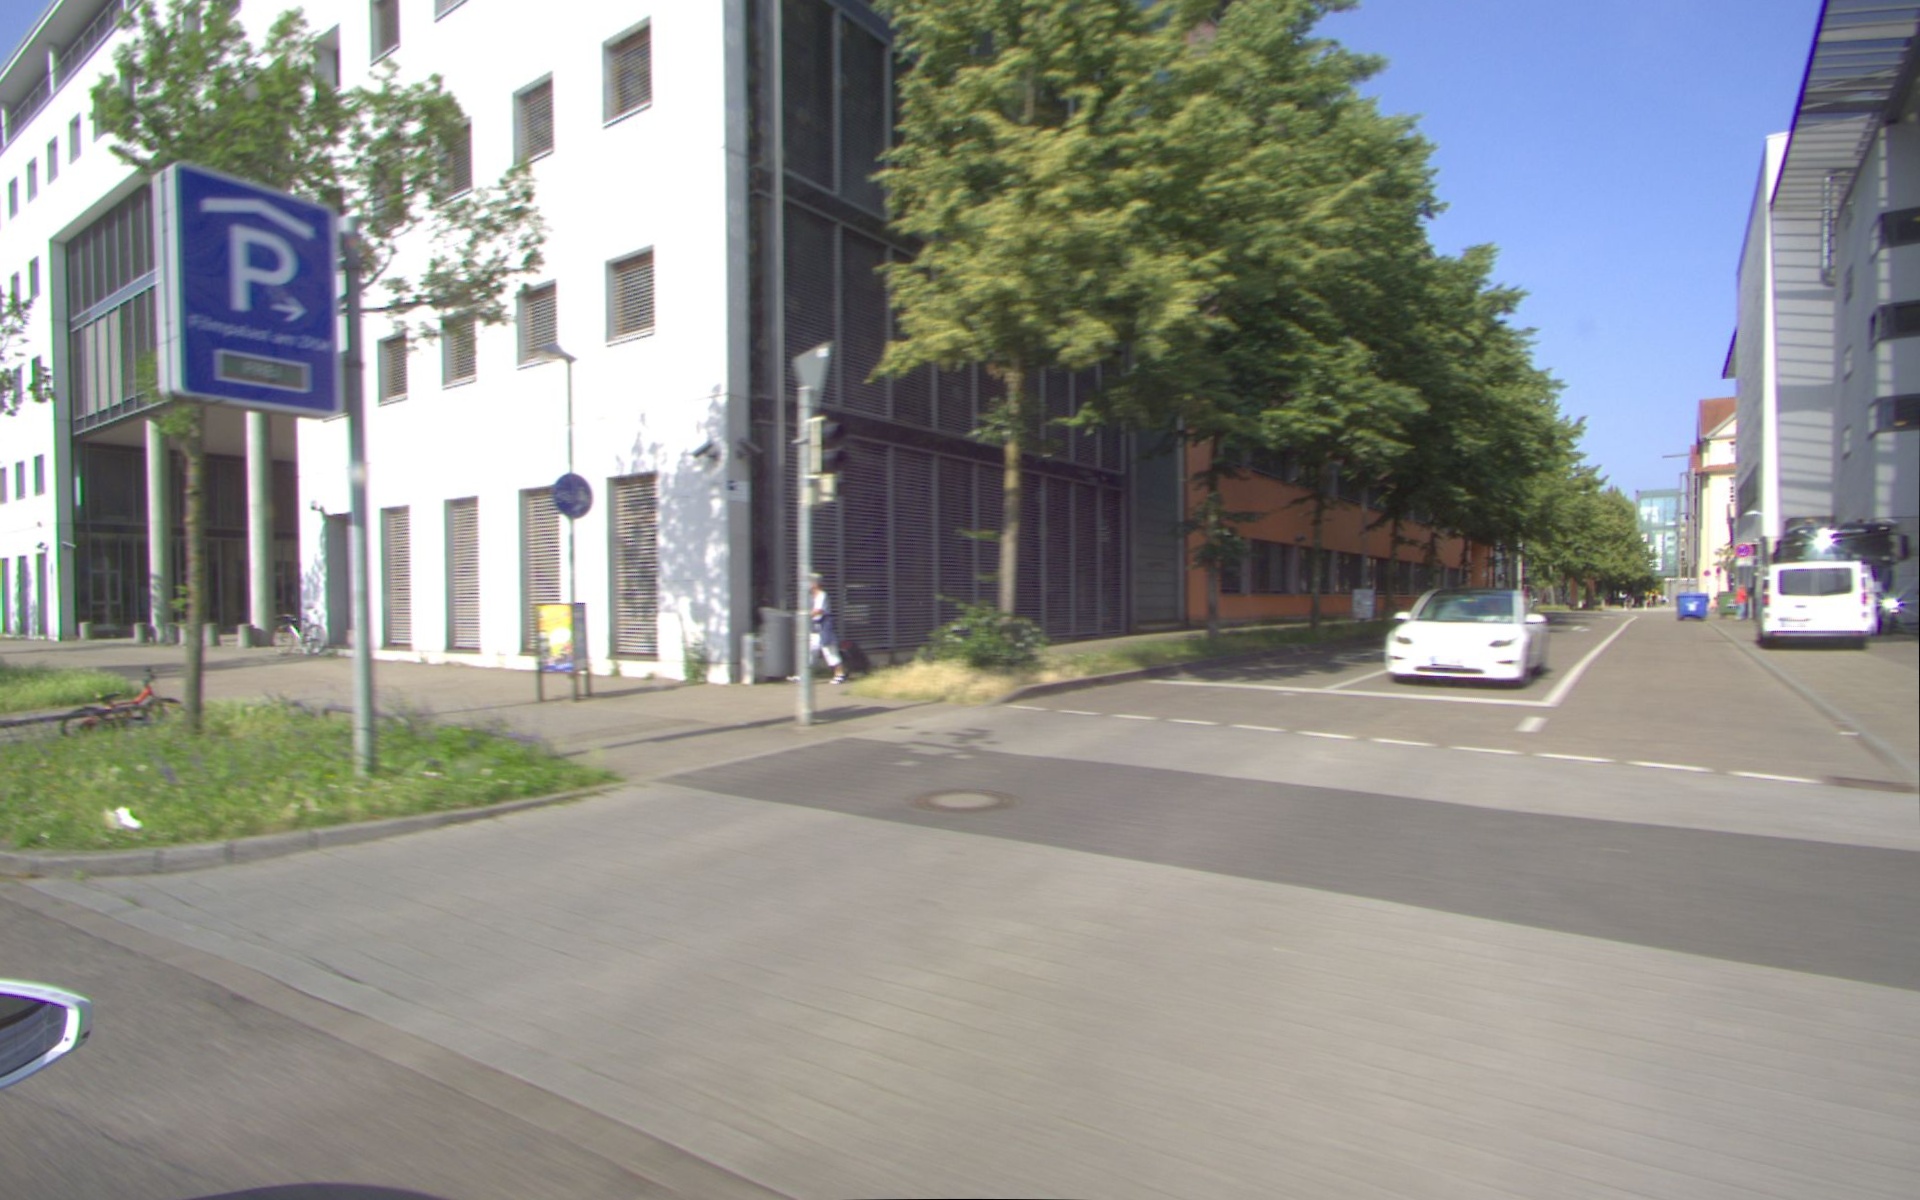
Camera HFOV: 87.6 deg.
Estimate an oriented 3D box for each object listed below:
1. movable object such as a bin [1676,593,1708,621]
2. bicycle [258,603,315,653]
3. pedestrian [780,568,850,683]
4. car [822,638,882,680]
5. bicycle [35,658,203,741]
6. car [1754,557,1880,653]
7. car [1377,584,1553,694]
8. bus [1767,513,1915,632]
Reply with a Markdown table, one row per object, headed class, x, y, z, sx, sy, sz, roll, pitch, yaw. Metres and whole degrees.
| class | x | y | z | sx | sy | sz | roll | pitch | yaw |
| --- | --- | --- | --- | --- | --- | --- | --- | --- | --- |
| movable object such as a bin | 34.382 | 0.315 | 47.013 | 1.191 | 1.266 | 2.197 | 0 | 0 | 38 |
| bicycle | -15.619 | 0.638 | 23.211 | 1.528 | 1.101 | 0.492 | 0 | 2 | 33 |
| pedestrian | -2.130 | 0.361 | 14.684 | 0.770 | 1.637 | 0.708 | -1 | 1 | -36 |
| car | -1.658 | 0.898 | 15.379 | 0.758 | 0.595 | 0.494 | -1 | 0 | -37 |
| bicycle | -8.947 | 1.034 | 10.680 | 0.515 | 0.641 | 1.262 | 0 | 6 | 42 |
| car | 20.266 | 0.113 | 23.859 | 2.044 | 2.040 | 4.861 | -1 | 0 | 38 |
| car | 8.101 | 0.516 | 15.851 | 1.876 | 1.484 | 4.307 | 0 | 1 | 35 |
| bus | 26.855 | -0.712 | 30.835 | 2.454 | 3.190 | 7.798 | -1 | 0 | 34 |
